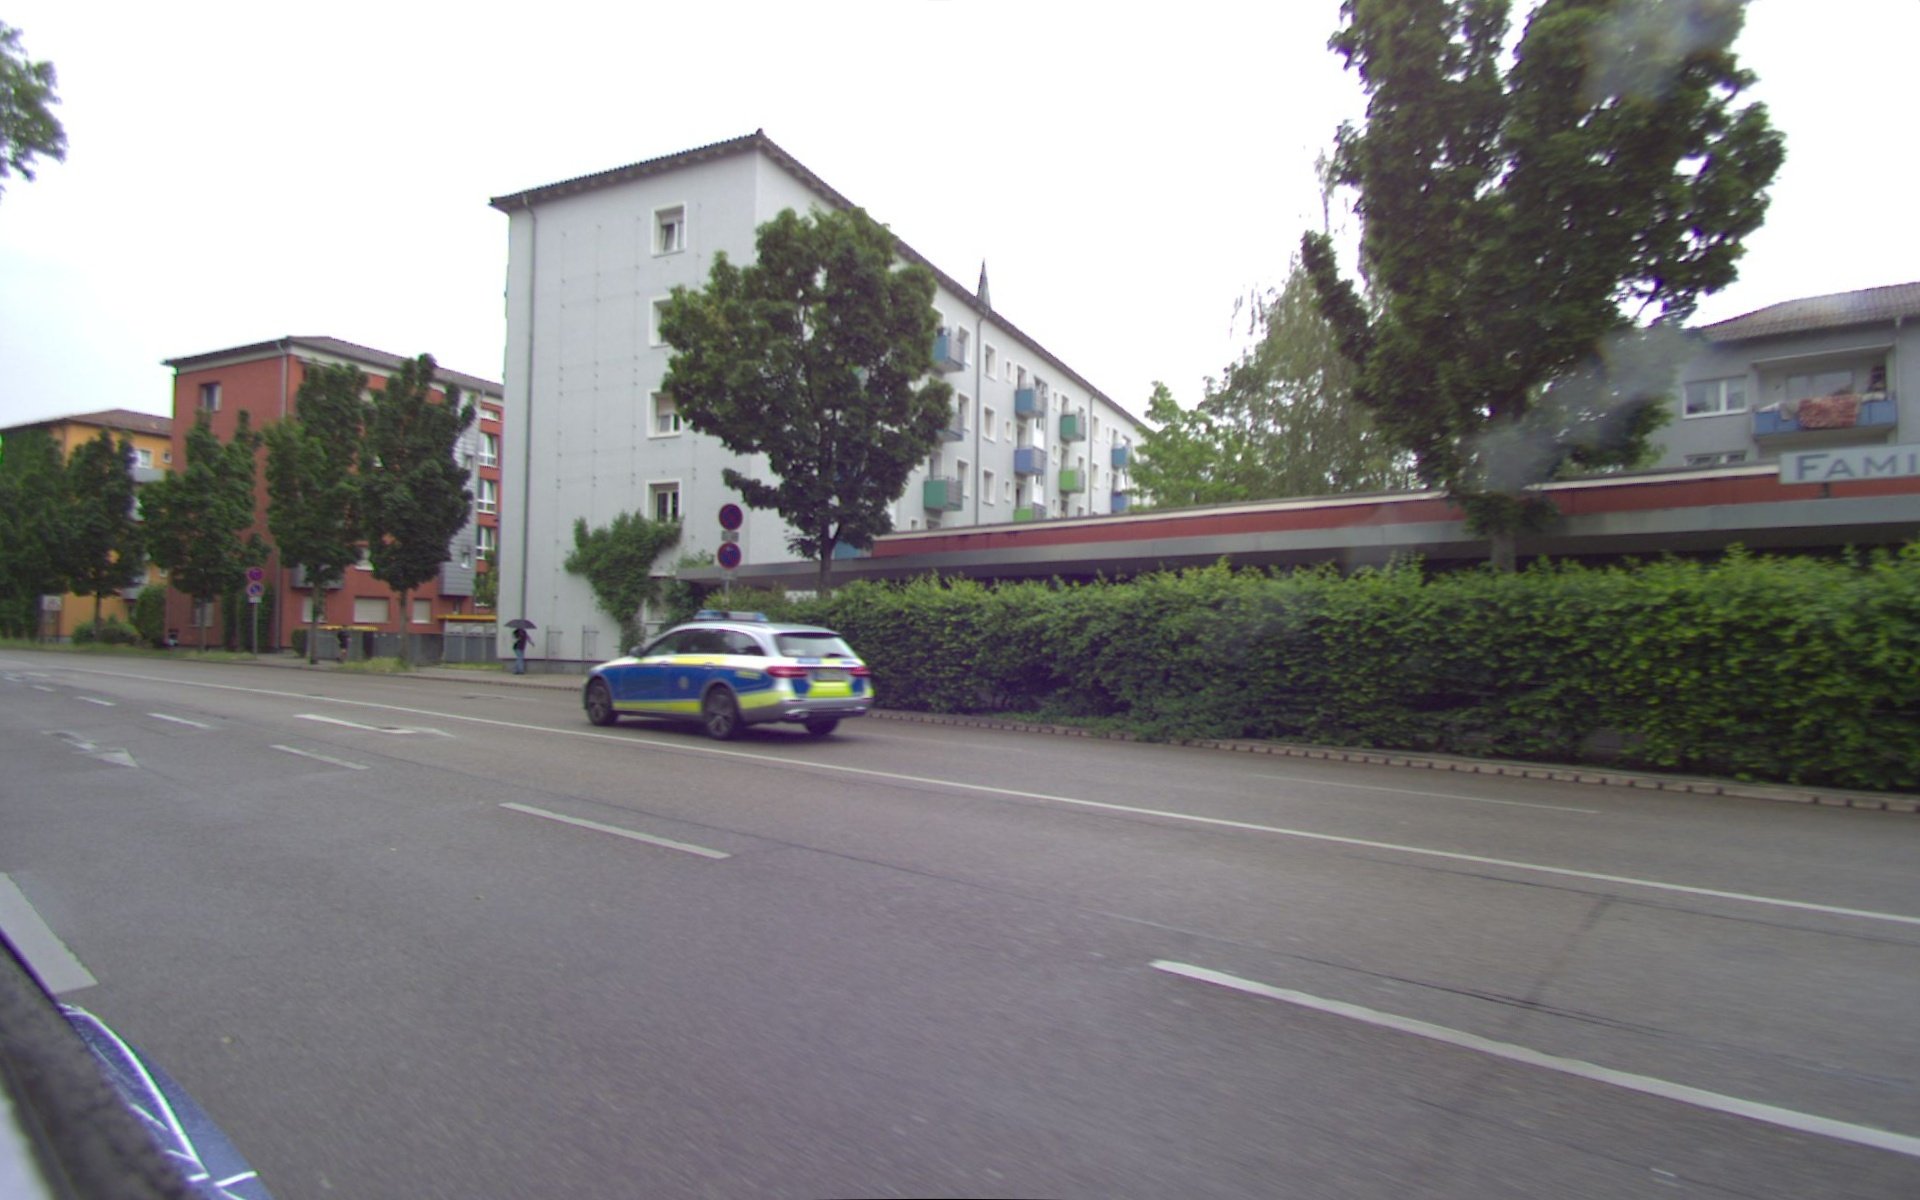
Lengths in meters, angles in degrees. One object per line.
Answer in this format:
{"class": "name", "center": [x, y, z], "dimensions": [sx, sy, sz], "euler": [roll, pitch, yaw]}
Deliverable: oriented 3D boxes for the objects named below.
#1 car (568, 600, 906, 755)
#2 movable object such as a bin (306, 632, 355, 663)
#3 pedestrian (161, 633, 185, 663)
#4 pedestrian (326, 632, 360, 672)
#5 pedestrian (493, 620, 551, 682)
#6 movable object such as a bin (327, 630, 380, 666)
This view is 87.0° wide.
{"class": "car", "center": [-3.175, 0.969, 13.873], "dimensions": [4.803, 1.763, 1.973], "euler": [-1, -3, 40]}
{"class": "movable object such as a bin", "center": [-27.766, 2.105, 44.632], "dimensions": [1.961, 1.341, 1.147], "euler": [-2, -3, 35]}
{"class": "pedestrian", "center": [-39.466, 2.413, 50.773], "dimensions": [0.833, 1.460, 0.666], "euler": [-1, -3, 32]}
{"class": "pedestrian", "center": [-23.804, 1.989, 39.032], "dimensions": [1.066, 1.529, 0.687], "euler": [-1, -3, 32]}
{"class": "pedestrian", "center": [-13.362, 1.552, 30.878], "dimensions": [1.261, 1.818, 1.124], "euler": [-2, -3, 37]}
{"class": "movable object such as a bin", "center": [-25.996, 2.035, 43.373], "dimensions": [2.082, 1.496, 1.205], "euler": [-2, -3, 35]}
